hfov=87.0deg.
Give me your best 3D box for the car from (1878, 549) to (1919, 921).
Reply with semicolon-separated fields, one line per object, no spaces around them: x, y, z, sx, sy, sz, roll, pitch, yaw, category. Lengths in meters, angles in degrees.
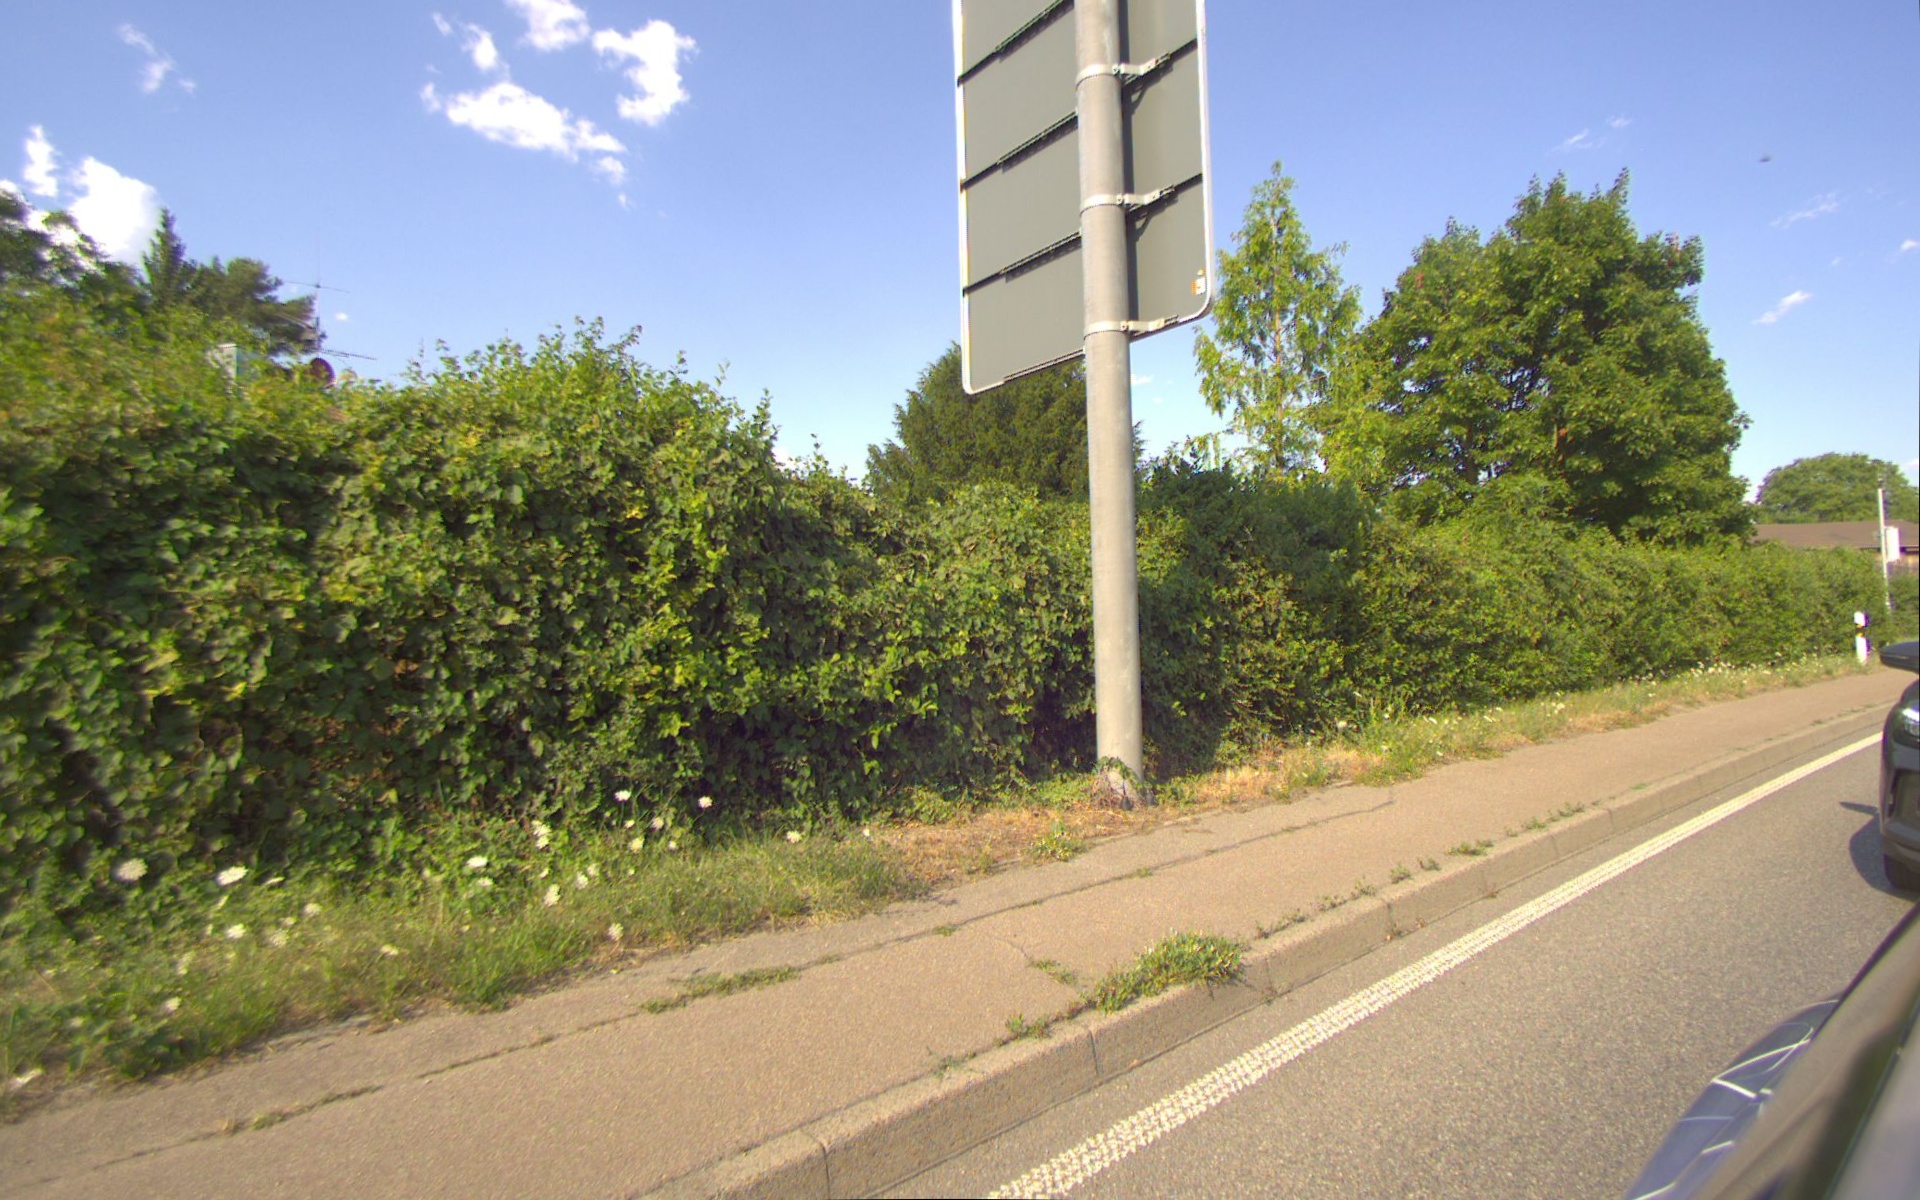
6.275;0.572;5.227;3.932;1.662;1.864;-2;2;-42;car
